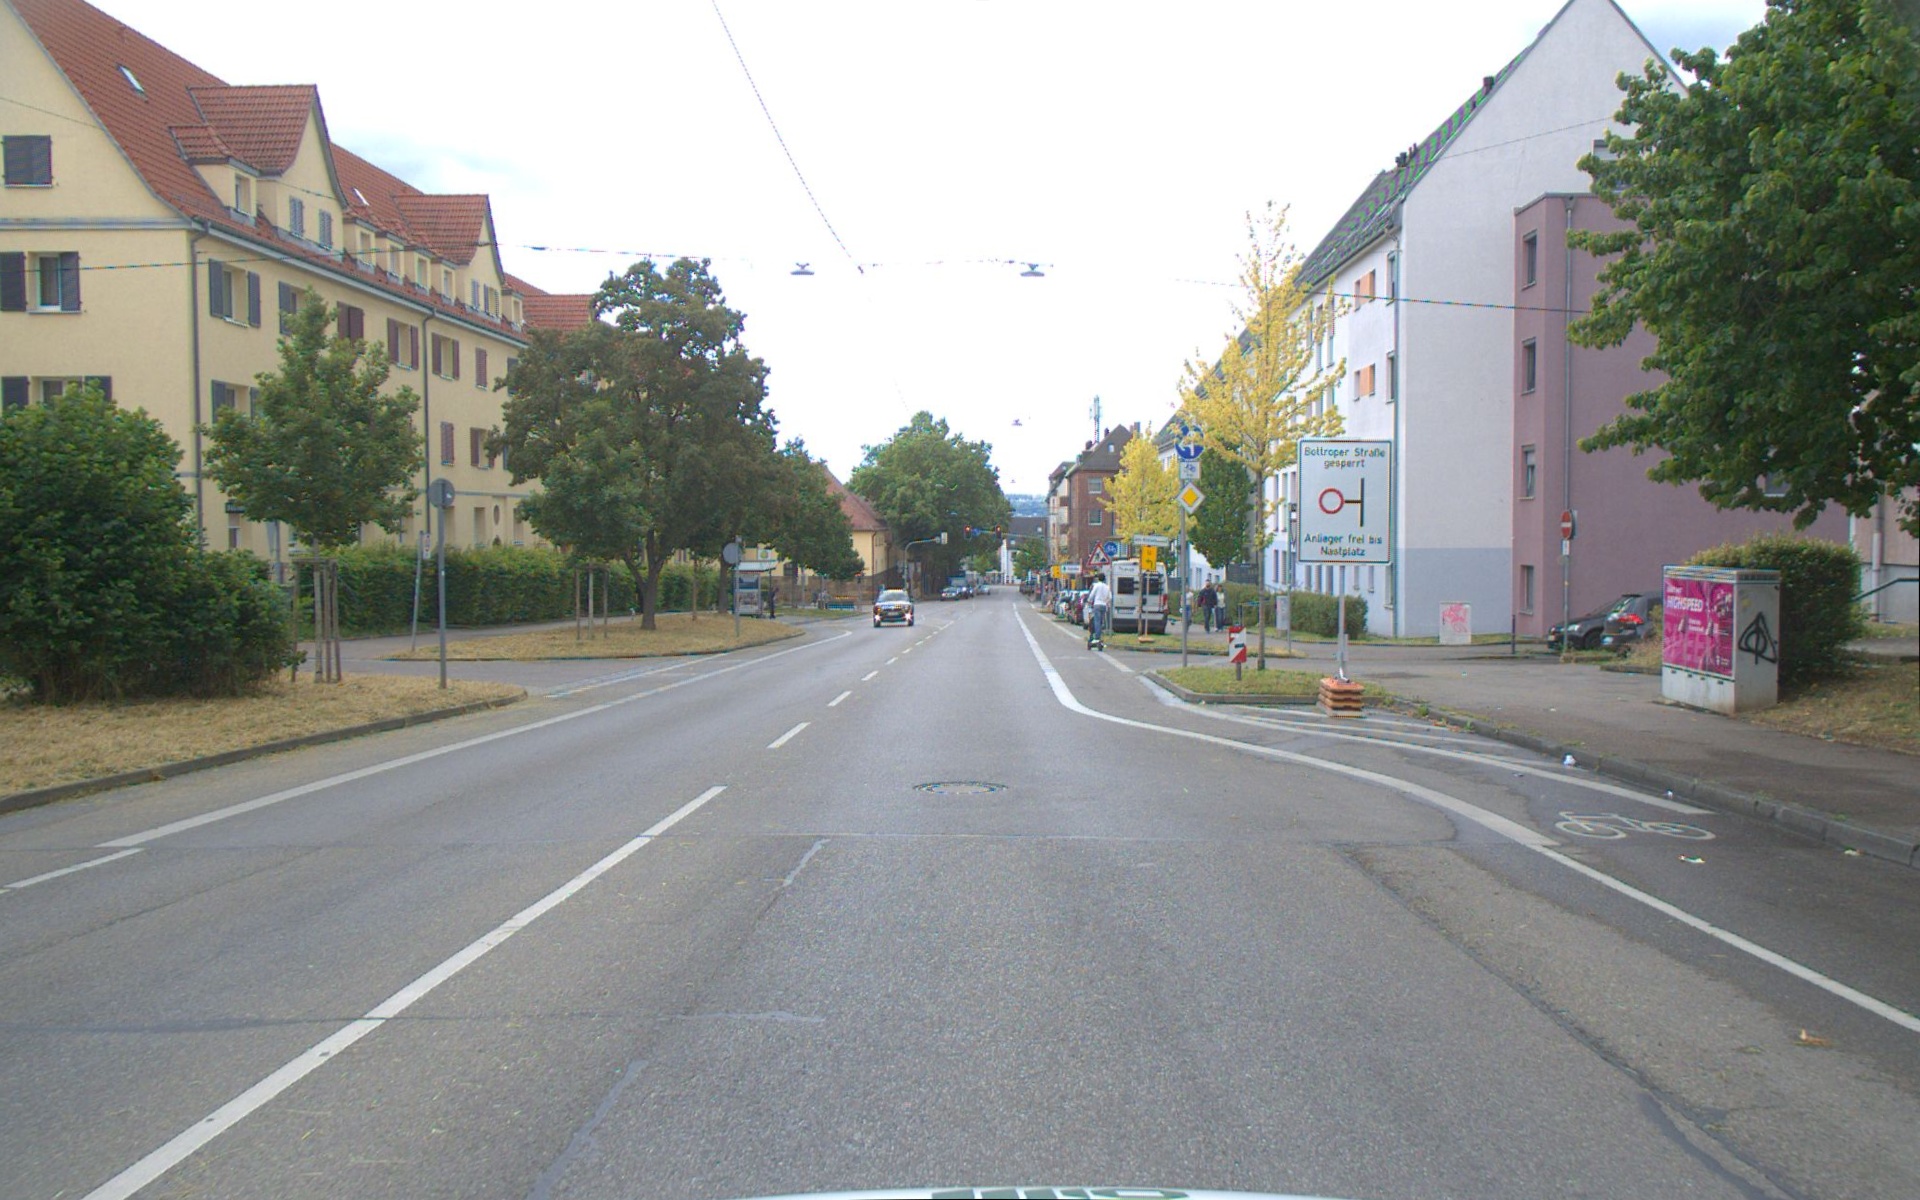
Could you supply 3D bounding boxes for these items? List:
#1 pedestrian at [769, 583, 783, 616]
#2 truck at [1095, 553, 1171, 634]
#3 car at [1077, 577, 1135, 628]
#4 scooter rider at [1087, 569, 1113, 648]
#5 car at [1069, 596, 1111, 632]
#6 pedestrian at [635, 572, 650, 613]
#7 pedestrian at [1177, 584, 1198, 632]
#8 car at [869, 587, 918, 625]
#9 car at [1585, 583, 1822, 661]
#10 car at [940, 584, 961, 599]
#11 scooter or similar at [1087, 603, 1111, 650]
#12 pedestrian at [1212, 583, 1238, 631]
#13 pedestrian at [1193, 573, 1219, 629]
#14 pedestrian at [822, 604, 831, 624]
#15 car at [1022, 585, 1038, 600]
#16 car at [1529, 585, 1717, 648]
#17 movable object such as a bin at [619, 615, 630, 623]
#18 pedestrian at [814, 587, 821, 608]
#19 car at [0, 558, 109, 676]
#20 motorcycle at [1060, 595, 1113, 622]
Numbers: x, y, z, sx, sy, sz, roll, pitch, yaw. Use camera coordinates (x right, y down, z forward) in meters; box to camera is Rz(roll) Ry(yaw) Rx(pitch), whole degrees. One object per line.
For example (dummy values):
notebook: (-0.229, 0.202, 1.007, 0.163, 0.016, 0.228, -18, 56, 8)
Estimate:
pedestrian: (-9.761, -0.028, 87.833, 0.585, 1.757, 0.861, 1, 0, 4)
truck: (5.848, -0.236, 56.472, 2.010, 2.610, 5.690, 0, 1, 0)
car: (5.850, 0.076, 66.877, 1.952, 1.978, 5.212, 0, 1, 1)
scooter rider: (3.683, 0.214, 43.413, 0.612, 2.049, 0.758, 0, 0, 0)
car: (6.141, 0.646, 78.245, 1.646, 1.571, 4.339, 1, 1, 0)
pedestrian: (-14.282, -0.342, 74.386, 0.503, 1.811, 0.753, 0, 0, 1)
pedestrian: (8.041, 0.291, 58.473, 0.566, 1.673, 0.560, 0, -1, -13)
car: (-2.984, 0.232, 75.006, 1.860, 1.648, 4.363, 0, 1, 2)
car: (14.586, 0.442, 32.587, 3.904, 1.478, 1.689, 0, -1, 1)
car: (-0.975, -0.865, 165.307, 1.719, 1.498, 4.309, -1, 1, 5)
scooter or similar: (3.635, 0.681, 43.216, 0.480, 1.183, 2.075, 0, 1, 1)
pedestrian: (9.253, 0.242, 57.773, 0.644, 1.633, 0.574, -4, 1, -8)
pedestrian: (8.565, 0.046, 57.532, 0.658, 1.920, 0.764, 0, -1, -11)
pedestrian: (-10.775, 1.116, 133.279, 0.552, 1.594, 0.843, 0, 0, 7)
car: (9.451, -1.052, 223.604, 1.953, 1.969, 4.918, 0, 1, -1)
car: (16.080, 0.386, 40.259, 3.903, 1.481, 1.761, 0, 1, 3)
movable object such as a bin: (-15.093, 0.854, 74.368, 0.300, 0.353, 0.582, 0, 1, 7)
pedestrian: (-11.957, -0.226, 138.819, 0.552, 1.808, 0.717, 0, 0, 1)
car: (-19.916, 0.340, 33.221, 4.620, 2.293, 1.995, 0, 0, 2)
motorcycle: (6.216, 0.396, 81.392, 2.545, 1.301, 0.753, 0, 0, -3)
